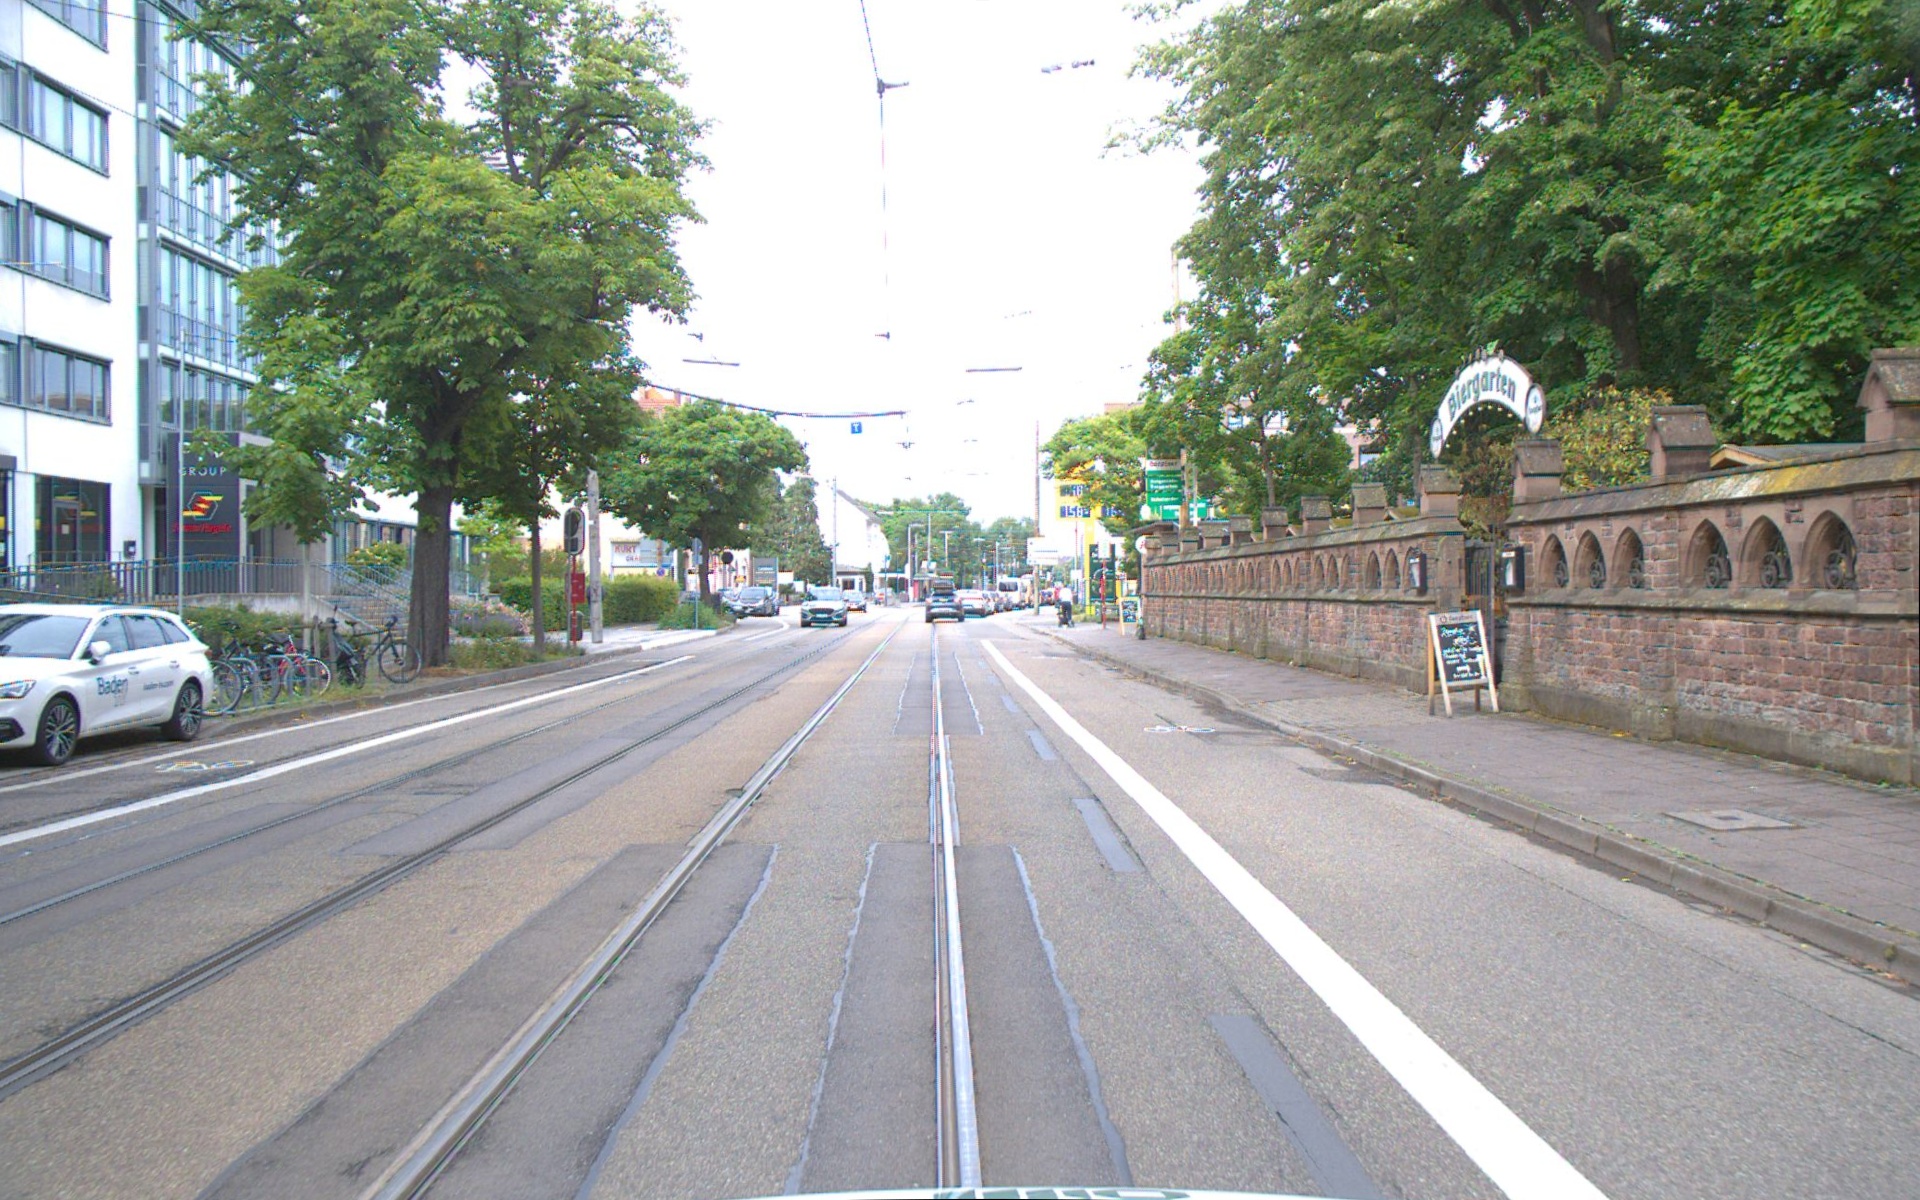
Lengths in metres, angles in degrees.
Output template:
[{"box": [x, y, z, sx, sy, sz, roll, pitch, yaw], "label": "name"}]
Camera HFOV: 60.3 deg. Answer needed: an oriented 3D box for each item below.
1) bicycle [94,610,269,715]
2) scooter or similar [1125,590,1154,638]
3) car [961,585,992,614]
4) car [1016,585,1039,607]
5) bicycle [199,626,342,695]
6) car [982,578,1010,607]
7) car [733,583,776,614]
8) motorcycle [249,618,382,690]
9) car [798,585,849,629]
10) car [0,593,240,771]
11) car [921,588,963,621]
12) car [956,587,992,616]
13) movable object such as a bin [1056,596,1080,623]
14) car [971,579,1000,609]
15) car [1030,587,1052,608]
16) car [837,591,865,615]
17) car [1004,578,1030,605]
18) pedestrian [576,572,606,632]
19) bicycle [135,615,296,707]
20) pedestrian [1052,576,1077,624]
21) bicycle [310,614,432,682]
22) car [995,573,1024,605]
[{"box": [-9.516, 0.753, 20.243, 1.825, 1.207, 0.632, -2, 0, 3], "label": "bicycle"}, {"box": [4.948, 0.377, 45.652, 0.565, 1.260, 1.410, -4, 0, 0], "label": "scooter or similar"}, {"box": [1.093, -0.022, 107.149, 1.928, 1.787, 3.838, 1, 0, 1], "label": "car"}, {"box": [6.355, -0.345, 155.802, 1.953, 2.049, 3.999, 1, 0, -1], "label": "car"}, {"box": [-9.898, 0.866, 23.789, 1.772, 0.915, 0.631, -2, -1, -7], "label": "bicycle"}, {"box": [2.683, -0.550, 122.003, 1.952, 2.049, 4.001, 1, 0, 3], "label": "car"}, {"box": [-13.139, -0.073, 106.099, 1.950, 1.920, 4.999, 1, 0, 2], "label": "car"}, {"box": [-9.797, 0.819, 25.199, 1.754, 1.068, 0.732, 0, 0, -8], "label": "motorcycle"}, {"box": [-5.734, 0.262, 69.850, 1.805, 1.683, 4.388, -3, 1, -1], "label": "car"}, {"box": [-9.316, 0.715, 16.949, 1.843, 1.519, 4.752, 1, 0, -1], "label": "car"}, {"box": [-0.846, 0.208, 79.435, 1.949, 1.523, 4.325, 1, 0, -1], "label": "car"}, {"box": [0.757, 0.060, 93.965, 1.941, 1.577, 4.183, 1, 0, -1], "label": "car"}, {"box": [4.350, 0.385, 66.512, 0.751, 1.057, 1.025, -3, 0, 13], "label": "movable object such as a bin"}, {"box": [1.800, -0.390, 115.864, 1.952, 2.049, 4.001, 1, 0, 1], "label": "car"}, {"box": [8.200, -0.260, 168.228, 1.953, 2.049, 3.999, 1, 0, -1], "label": "car"}, {"box": [-7.580, 0.210, 114.958, 1.712, 1.512, 4.062, -1, 1, -1], "label": "car"}, {"box": [4.833, -0.676, 139.197, 2.095, 2.183, 4.745, 1, 0, 2], "label": "car"}, {"box": [-12.906, 0.066, 57.905, 0.695, 2.049, 0.991, 1, -1, 6], "label": "pedestrian"}, {"box": [-9.612, 0.780, 21.402, 1.772, 1.119, 0.631, -2, -1, -7], "label": "bicycle"}, {"box": [4.144, -0.002, 65.521, 0.751, 1.828, 1.163, -3, 0, 13], "label": "pedestrian"}, {"box": [-9.828, 0.792, 27.641, 1.795, 1.071, 0.740, 0, 0, -10], "label": "bicycle"}, {"box": [3.857, -0.843, 129.803, 2.170, 2.465, 4.952, 1, 0, 1], "label": "car"}]
